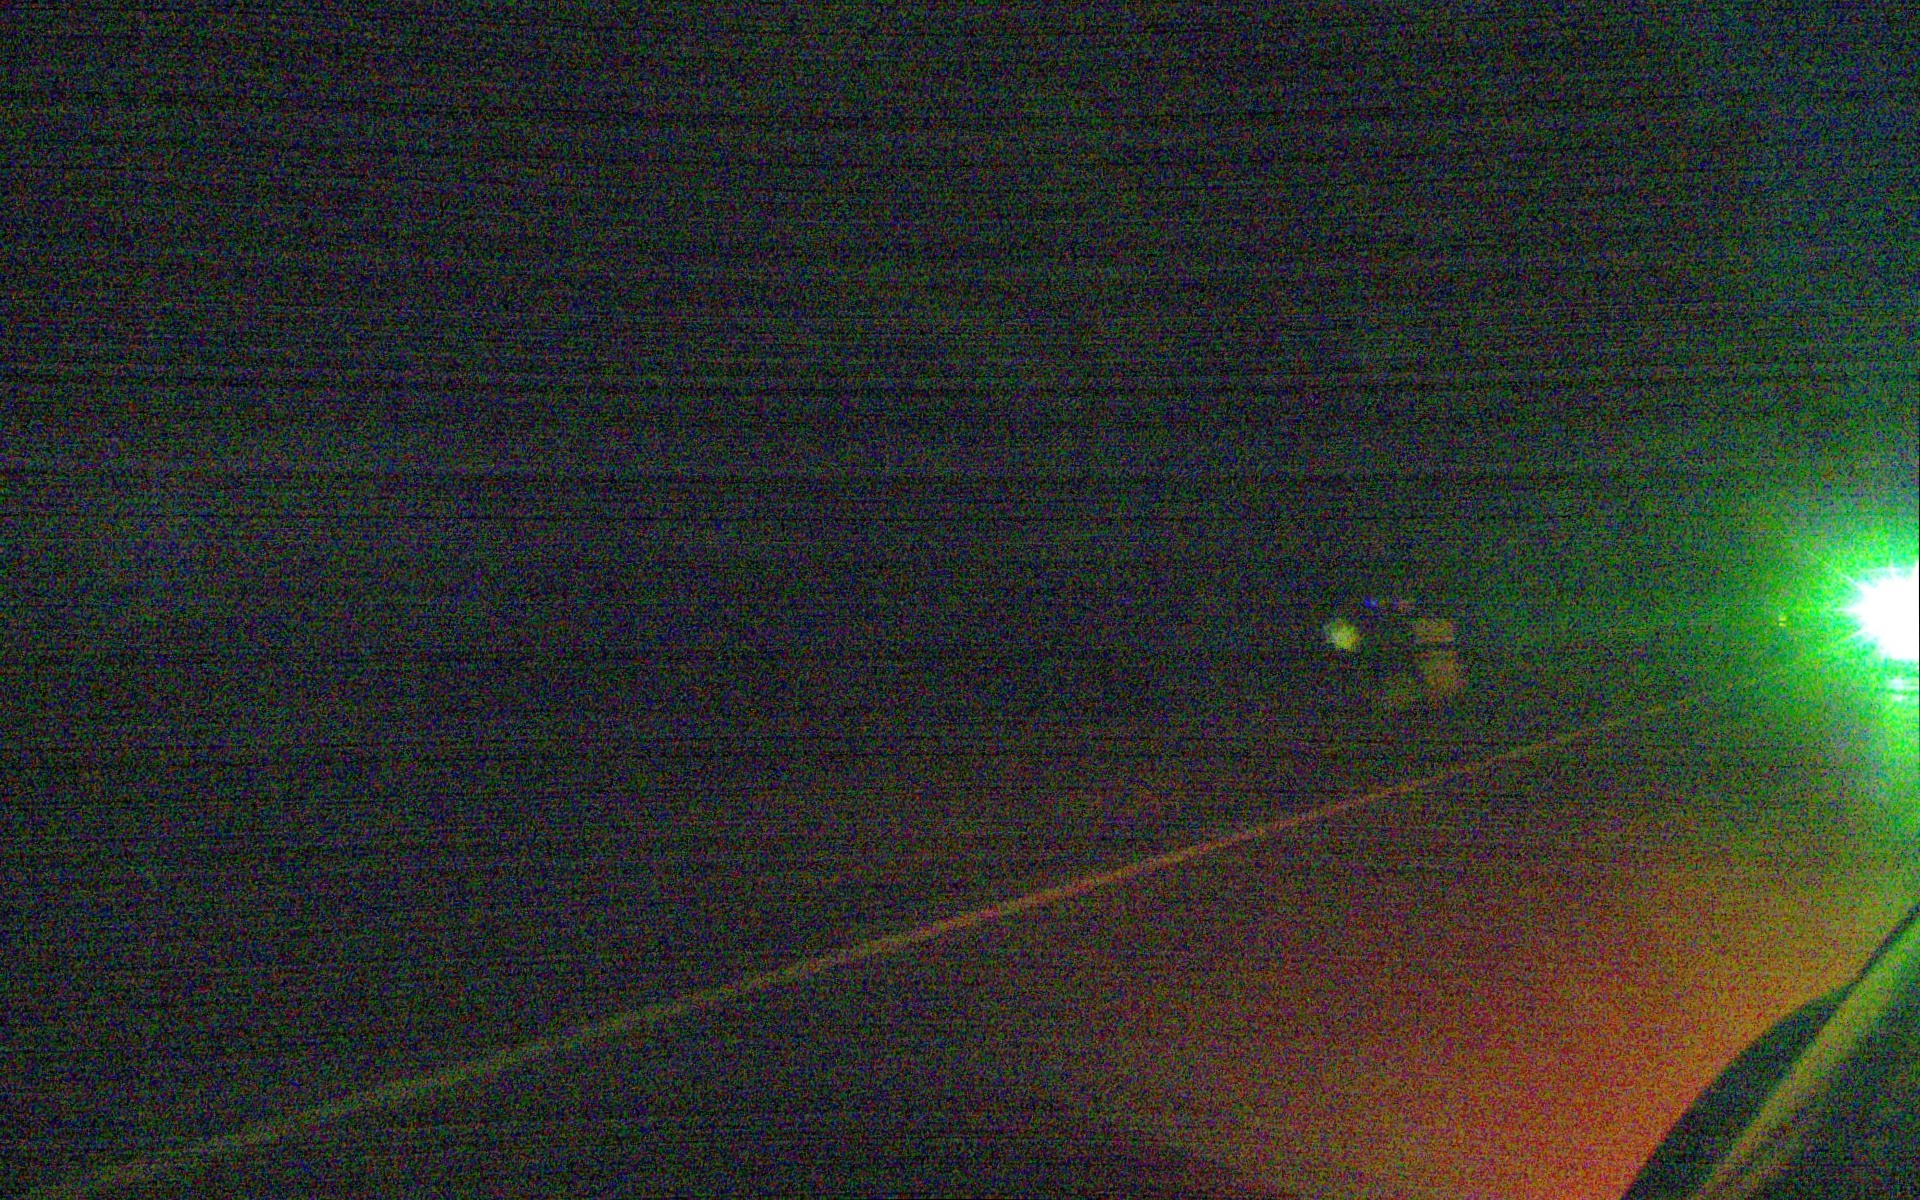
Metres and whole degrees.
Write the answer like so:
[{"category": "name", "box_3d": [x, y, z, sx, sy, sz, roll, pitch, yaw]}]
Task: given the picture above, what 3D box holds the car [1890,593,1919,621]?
[{"category": "car", "box_3d": [66.664, 0.475, 70.360, 1.982, 1.877, 3.958, -4, -3, 29]}]
